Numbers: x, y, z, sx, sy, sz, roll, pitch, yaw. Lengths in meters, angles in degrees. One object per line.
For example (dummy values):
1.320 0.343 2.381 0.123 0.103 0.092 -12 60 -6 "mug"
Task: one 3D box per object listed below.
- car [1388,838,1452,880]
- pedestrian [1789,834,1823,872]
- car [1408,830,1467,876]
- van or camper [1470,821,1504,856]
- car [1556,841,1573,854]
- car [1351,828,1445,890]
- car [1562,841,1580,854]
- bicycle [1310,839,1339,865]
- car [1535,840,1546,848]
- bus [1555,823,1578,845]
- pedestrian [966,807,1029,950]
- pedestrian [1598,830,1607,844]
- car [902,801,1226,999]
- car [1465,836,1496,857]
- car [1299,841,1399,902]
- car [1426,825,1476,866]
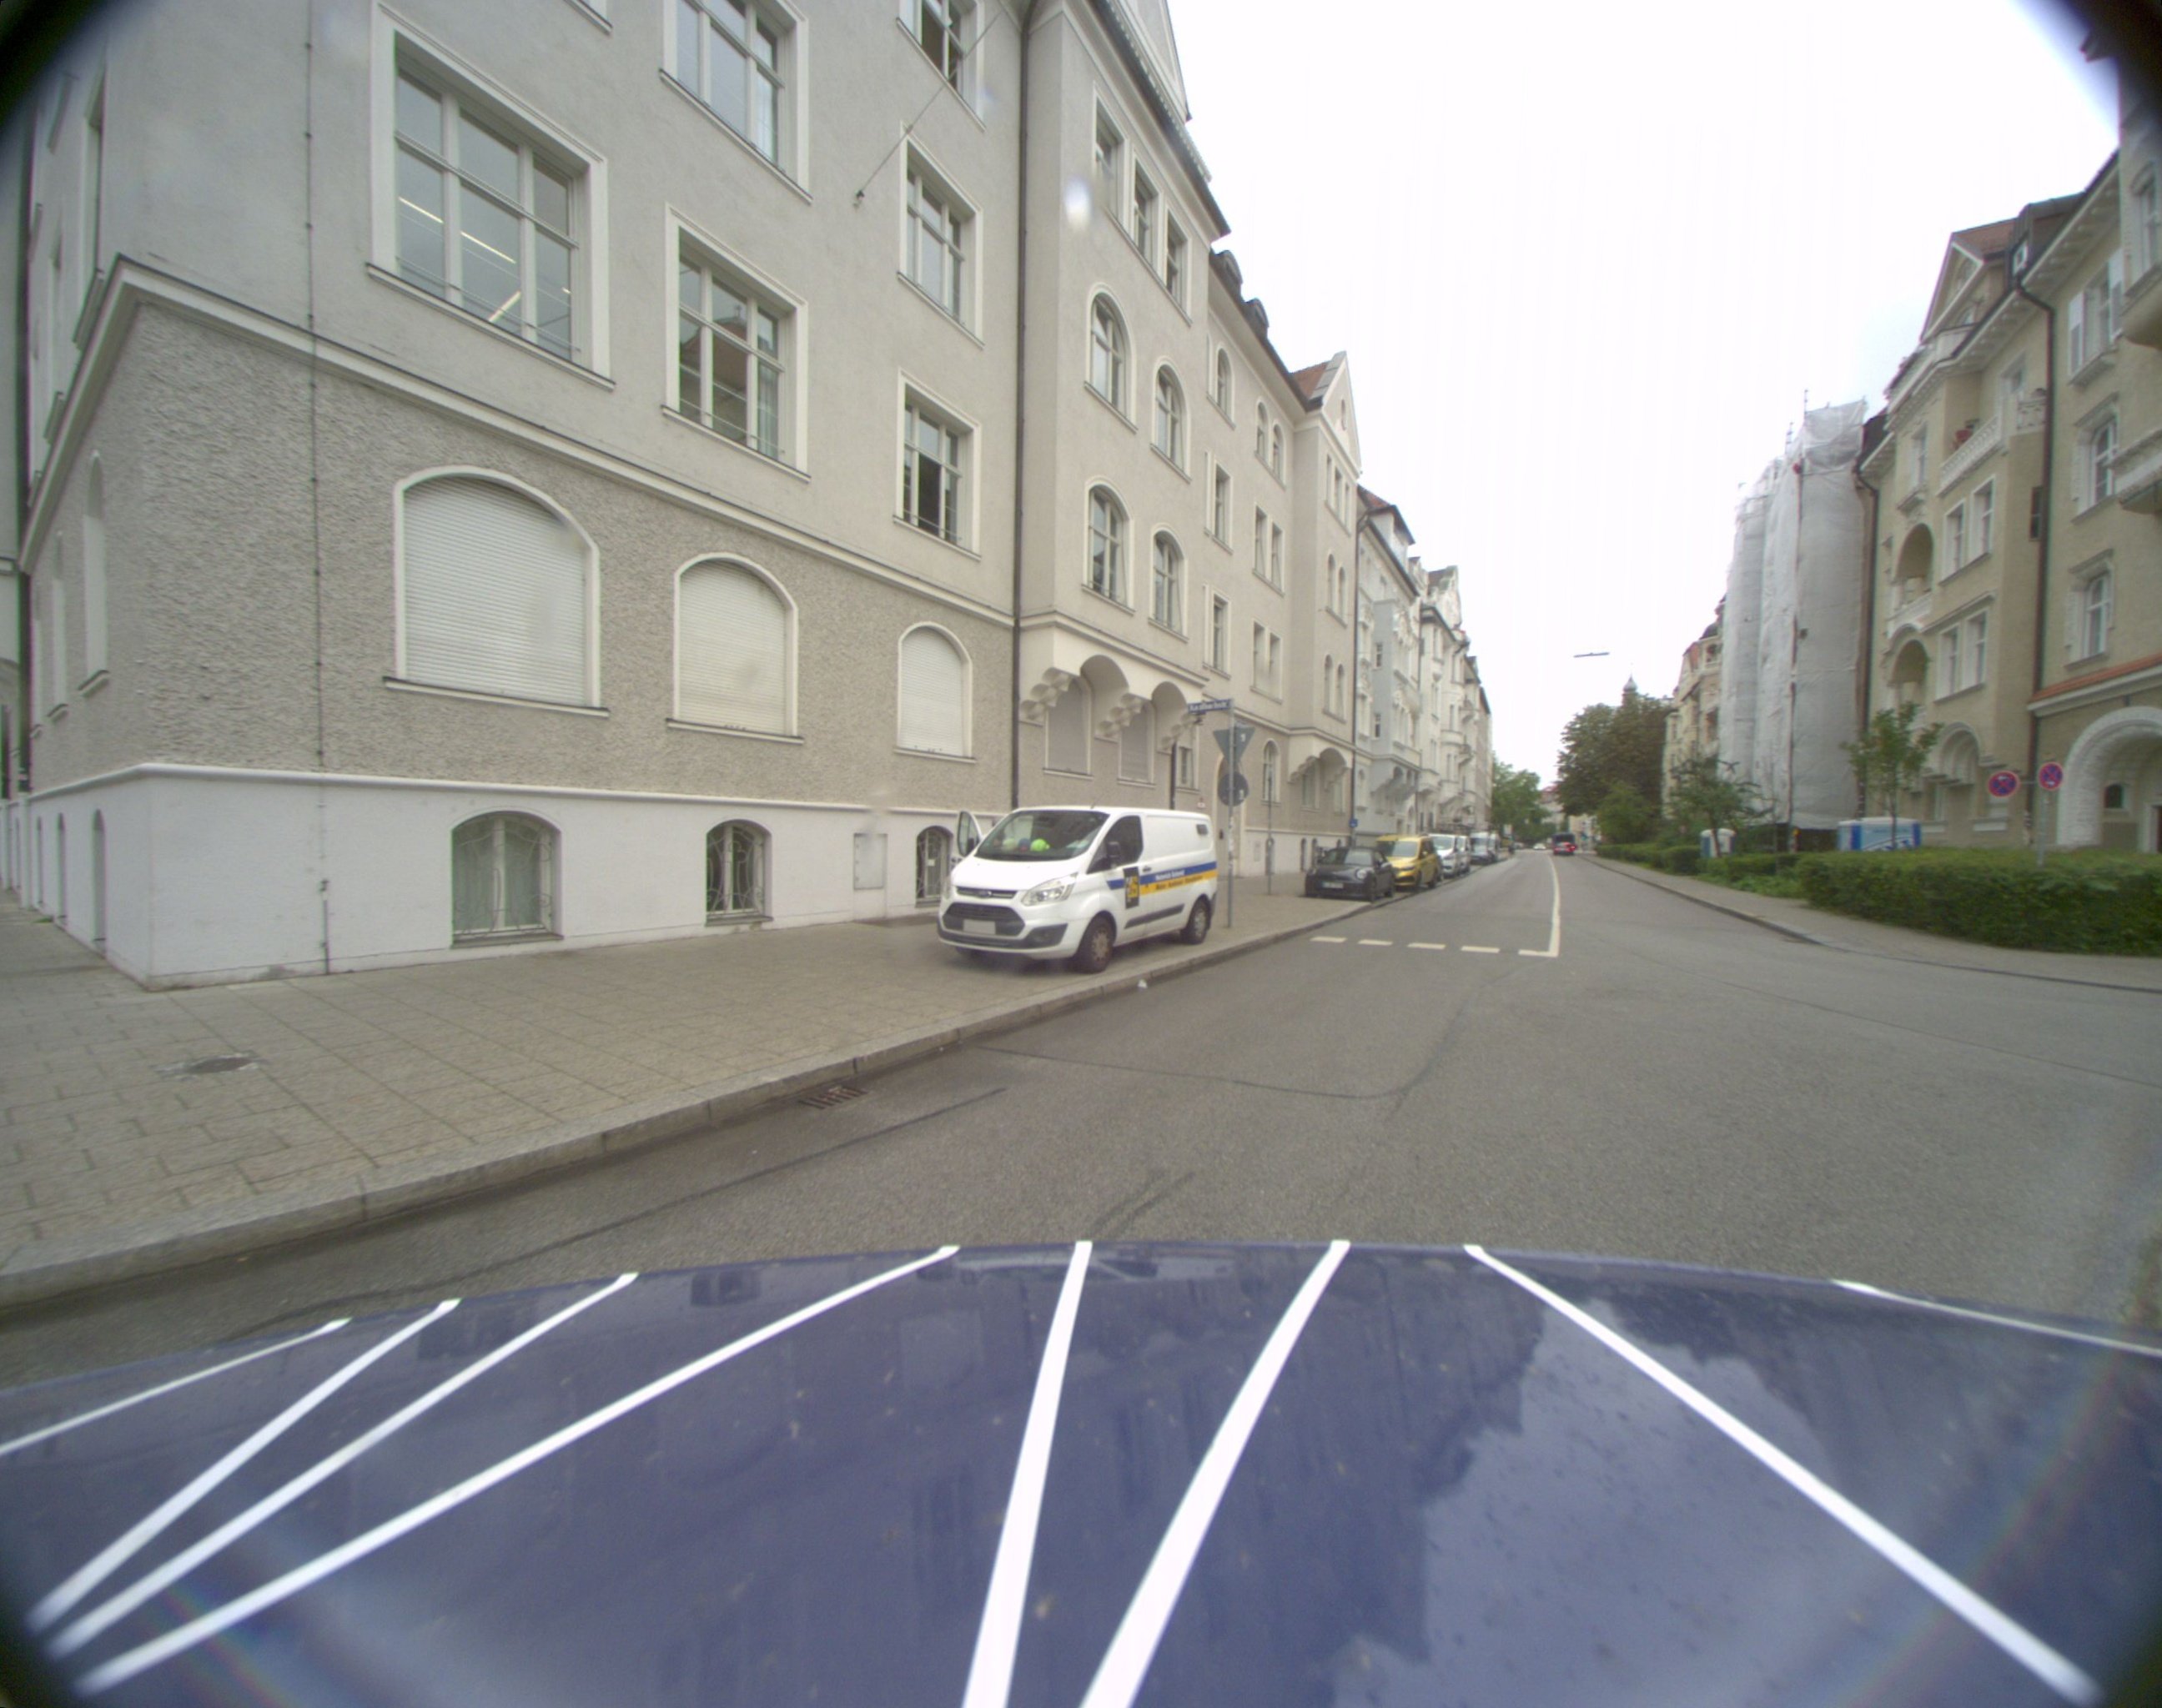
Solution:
13.279 0.144 29.655 1.632 1.476 3.790 2 3 33 "car"
34.308 -0.047 35.959 0.914 1.742 0.949 2 3 31 "pedestrian"
16.373 -0.128 34.742 1.960 1.926 5.002 2 2 30 "car"
32.702 -1.285 61.141 1.954 2.622 5.468 2 3 32 "van or camper"
60.216 -0.841 94.633 1.584 1.471 3.789 2 3 31 "car"
10.634 0.098 25.287 1.851 1.843 4.830 2 2 35 "car"
64.130 -0.845 99.462 1.768 1.635 4.281 2 3 31 "car"
10.921 -0.095 34.033 0.694 1.088 2.040 5 4 33 "bicycle"
98.436 -2.188 162.614 1.923 1.609 4.007 2 2 32 "car"
69.801 -2.859 109.250 2.580 3.084 8.939 2 3 32 "bus"
-1.144 0.317 10.363 0.678 1.877 0.591 -1 3 -29 "pedestrian"
79.487 -2.595 115.793 0.831 2.002 0.779 0 2 -11 "pedestrian"
0.112 0.375 10.102 1.916 1.951 4.936 3 3 31 "car"
29.398 -0.567 55.907 1.754 1.426 4.094 2 3 31 "car"
7.382 0.394 20.724 1.664 1.449 3.903 2 2 33 "car"
19.562 -0.473 40.088 1.960 2.002 5.002 2 3 30 "car"
